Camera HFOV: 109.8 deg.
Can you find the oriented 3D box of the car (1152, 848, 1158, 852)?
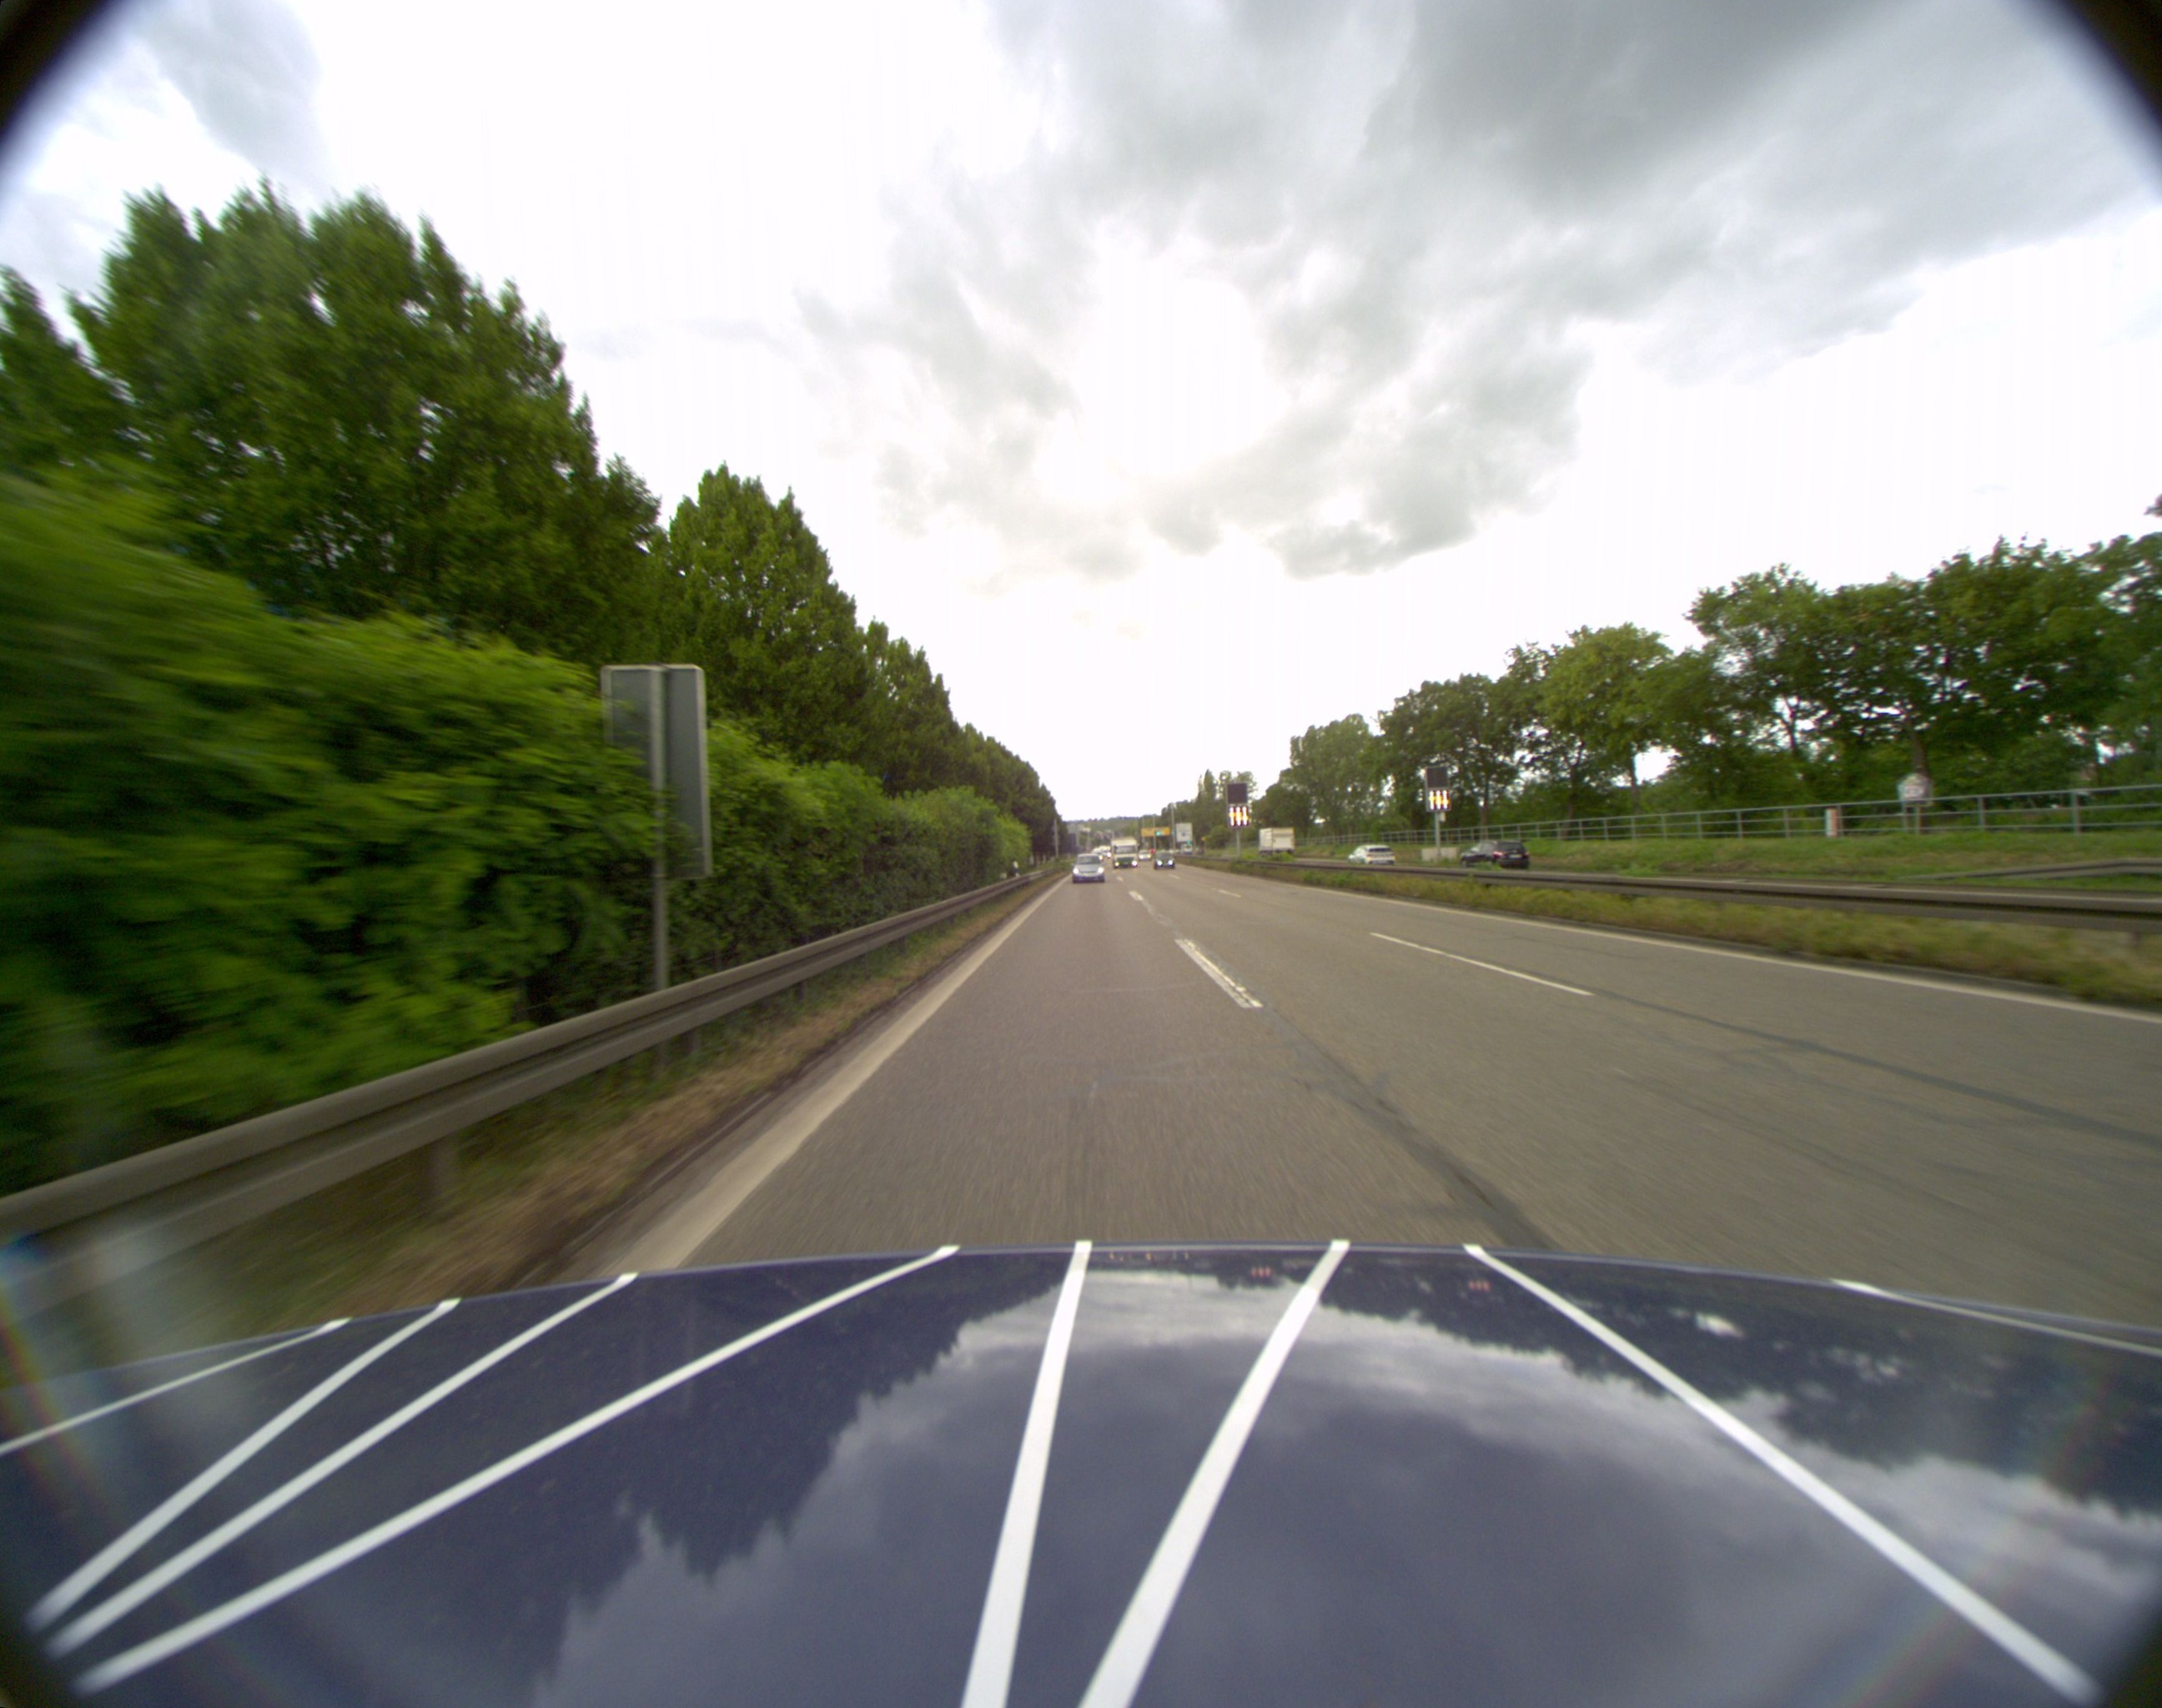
[{"bbox_3d":[25.263,-1.229,258.953,1.664,1.291,4.788,-4,0,0],"label":"car"}]

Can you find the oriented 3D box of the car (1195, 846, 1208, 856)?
[{"bbox_3d":[22.394,-0.637,141.602,1.883,1.714,4.147,-4,0,4],"label":"car"}]

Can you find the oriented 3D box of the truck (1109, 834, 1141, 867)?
[{"bbox_3d":[4.608,-0.368,81.876,2.657,3.121,12.509,-4,0,0],"label":"truck"}]

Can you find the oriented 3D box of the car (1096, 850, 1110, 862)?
[{"bbox_3d":[3.355,0.251,116.591,1.883,1.714,4.146,-4,0,0],"label":"car"}]

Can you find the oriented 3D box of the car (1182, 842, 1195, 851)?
[{"bbox_3d":[23.252,-1.606,164.483,2.231,1.936,5.475,-3,0,4],"label":"car"}]

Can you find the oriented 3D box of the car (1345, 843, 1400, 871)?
[{"bbox_3d":[17.658,0.188,46.255,1.702,1.595,4.538,-1,0,1],"label":"car"}]

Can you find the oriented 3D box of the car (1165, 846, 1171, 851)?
[{"bbox_3d":[28.664,-1.756,250.315,1.664,1.291,4.788,-4,0,0],"label":"car"}]

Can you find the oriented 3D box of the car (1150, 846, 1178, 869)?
[{"bbox_3d":[7.004,0.290,64.424,1.883,1.714,4.146,-4,0,0],"label":"car"}]

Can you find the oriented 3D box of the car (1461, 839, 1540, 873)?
[{"bbox_3d":[20.609,0.083,37.546,1.730,1.595,4.042,-1,0,1],"label":"car"}]

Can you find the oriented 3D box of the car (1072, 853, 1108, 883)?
[{"bbox_3d":[0.526,0.773,44.372,1.883,1.530,4.146,-4,0,0],"label":"car"}]

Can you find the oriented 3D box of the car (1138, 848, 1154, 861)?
[{"bbox_3d":[9.102,0.072,106.887,1.883,1.714,4.146,-4,0,0],"label":"car"}]

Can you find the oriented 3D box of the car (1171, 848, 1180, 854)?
[{"bbox_3d":[23.859,-0.758,191.872,1.663,1.390,3.989,-1,0,2],"label":"car"}]

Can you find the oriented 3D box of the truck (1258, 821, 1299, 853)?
[{"bbox_3d":[24.003,-2.058,92.826,2.896,3.558,9.588,-3,1,4],"label":"truck"}]

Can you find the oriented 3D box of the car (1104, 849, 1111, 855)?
[{"bbox_3d":[8.560,-0.500,244.209,1.949,1.811,4.000,-4,0,0],"label":"car"}]
